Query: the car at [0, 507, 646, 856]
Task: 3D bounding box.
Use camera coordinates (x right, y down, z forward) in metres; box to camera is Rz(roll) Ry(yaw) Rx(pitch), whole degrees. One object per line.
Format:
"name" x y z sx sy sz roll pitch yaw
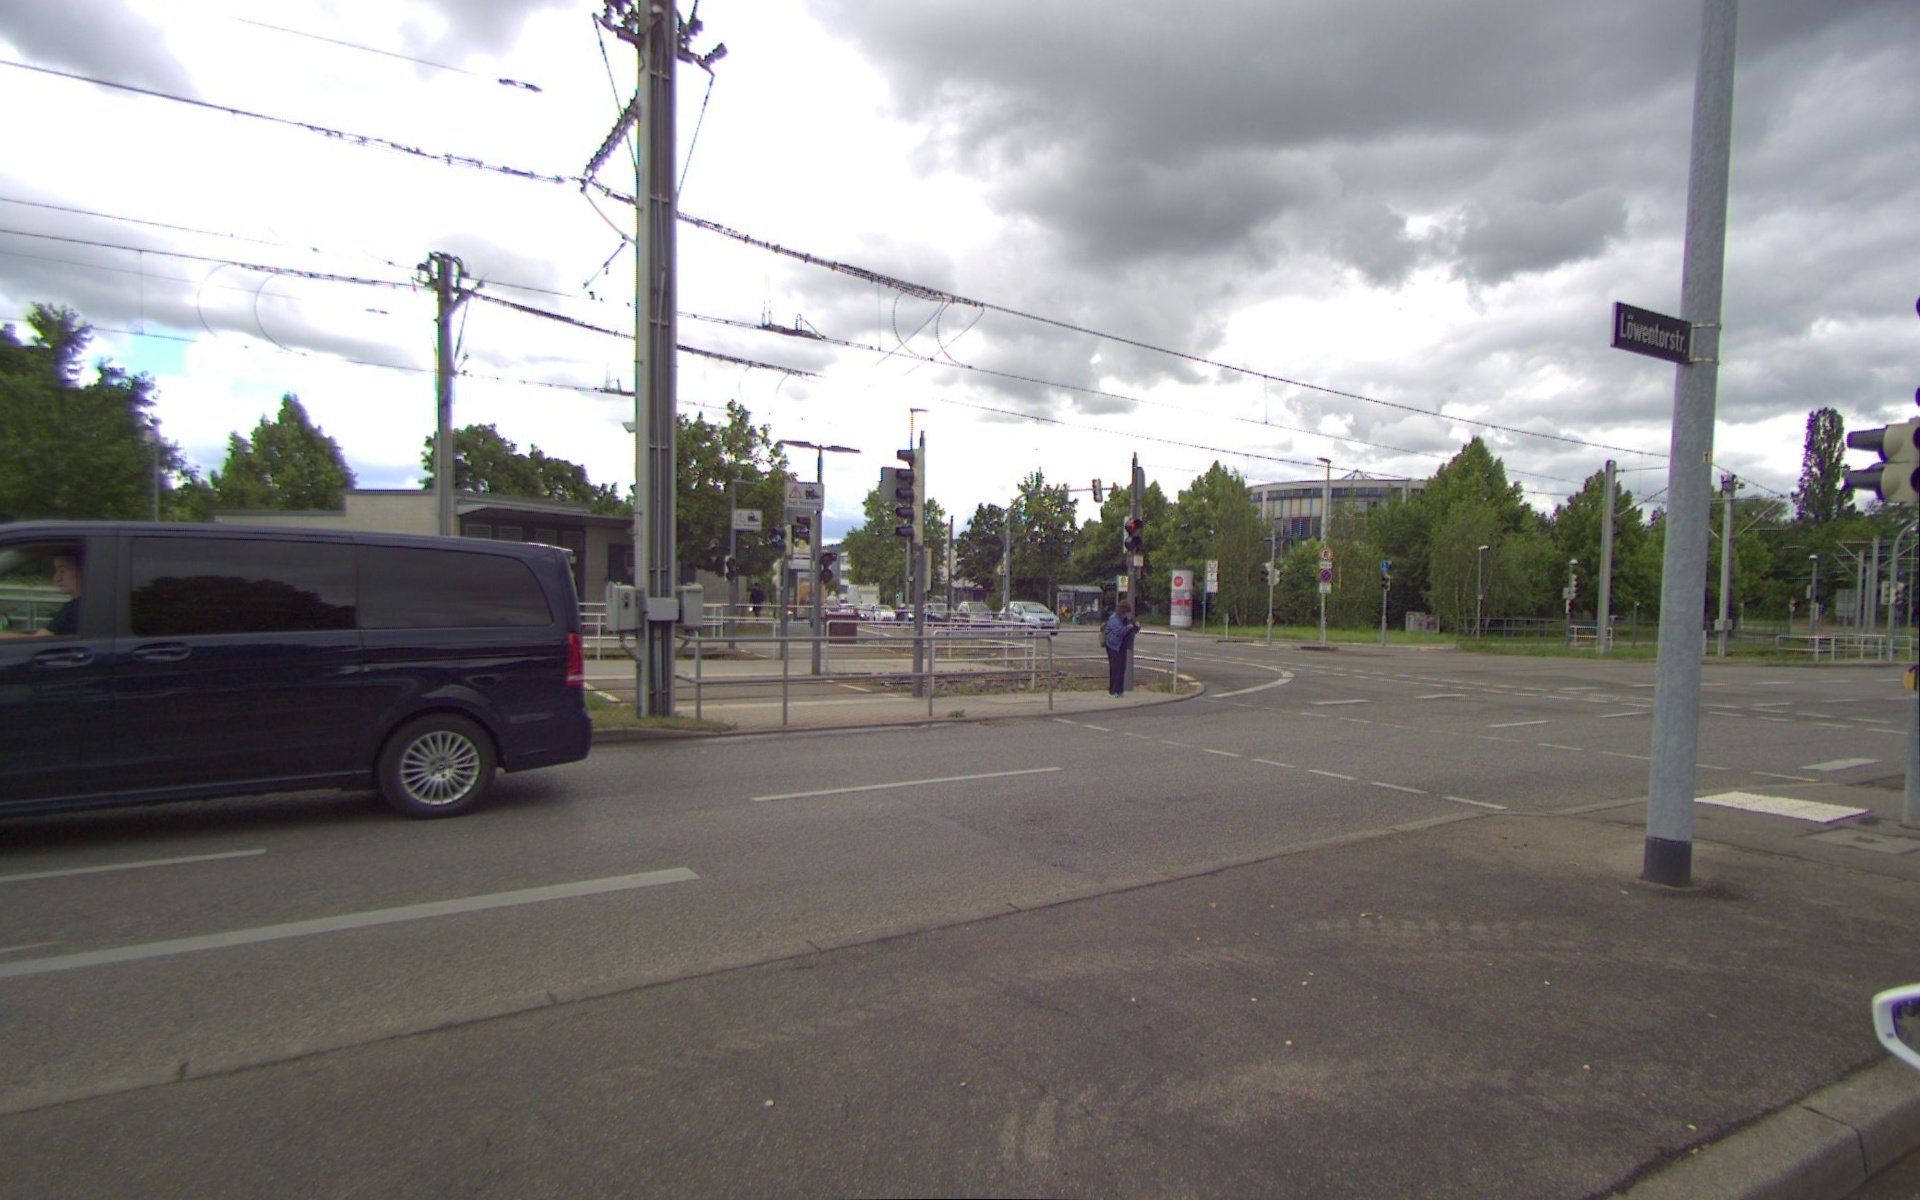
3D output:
"car" -4.863 0.445 6.553 5.041 1.836 1.875 1 -1 -35

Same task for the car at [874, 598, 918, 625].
"car" -4.148 0.698 64.578 1.776 1.617 3.982 2 0 -20

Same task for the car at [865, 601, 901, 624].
"car" -5.763 0.926 74.902 1.775 1.617 3.985 2 0 -17

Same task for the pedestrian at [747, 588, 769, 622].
"pedestrian" -8.312 0.198 41.331 0.590 1.377 0.616 2 0 18

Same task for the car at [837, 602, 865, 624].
"car" -9.464 1.139 86.895 1.869 1.805 3.988 1 0 -14

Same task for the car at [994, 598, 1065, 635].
"car" 3.198 0.734 46.901 1.848 1.617 3.982 2 0 -20

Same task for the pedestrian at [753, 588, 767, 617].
"pedestrian" -10.763 0.148 54.015 0.633 1.557 0.521 2 0 -2

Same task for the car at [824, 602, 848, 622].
"car" -11.682 1.127 94.628 1.869 1.805 3.990 1 0 -13

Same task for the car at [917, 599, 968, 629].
"car" -1.063 0.762 58.041 1.776 1.617 3.982 2 0 -20

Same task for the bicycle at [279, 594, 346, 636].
"bicycle" -17.314 0.398 26.850 1.778 1.045 0.536 2 0 21

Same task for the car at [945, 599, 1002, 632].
"car" 0.668 0.795 53.868 1.776 1.617 3.982 2 0 -20

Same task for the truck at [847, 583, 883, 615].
"truck" -11.238 -0.160 117.973 2.965 3.580 9.257 1 0 -14

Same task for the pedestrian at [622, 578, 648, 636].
"pedestrian" -10.115 0.216 31.273 0.700 1.751 0.674 2 0 -19

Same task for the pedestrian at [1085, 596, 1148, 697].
"pedestrian" 2.501 0.732 16.057 0.712 1.557 0.630 2 0 -33
